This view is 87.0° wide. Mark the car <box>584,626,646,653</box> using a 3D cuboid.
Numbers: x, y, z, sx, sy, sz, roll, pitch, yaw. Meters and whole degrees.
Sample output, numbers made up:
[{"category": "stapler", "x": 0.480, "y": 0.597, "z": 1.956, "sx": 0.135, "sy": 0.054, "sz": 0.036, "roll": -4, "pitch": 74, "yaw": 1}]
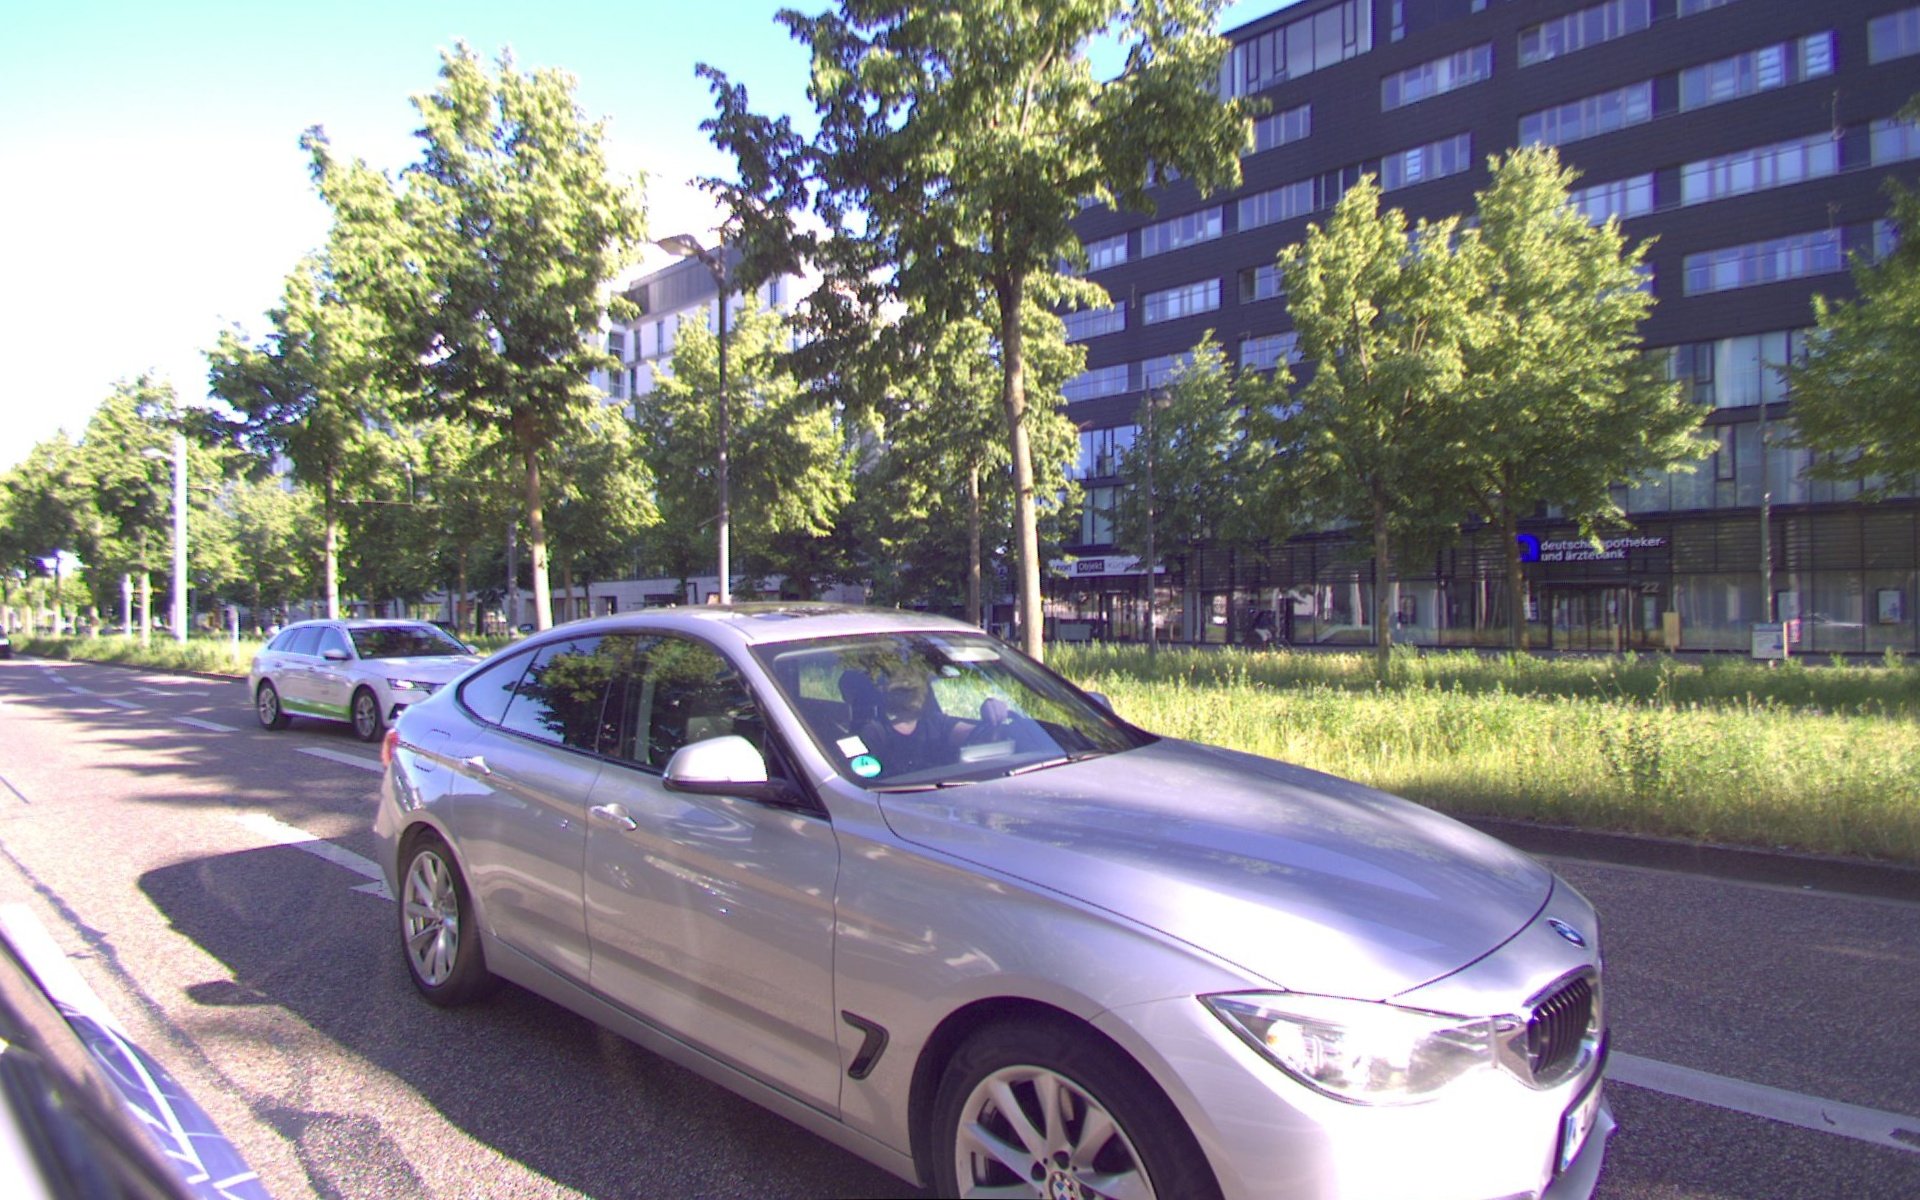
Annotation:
[{"category": "car", "x": -21.543, "y": 2.467, "z": 63.115, "sx": 4.182, "sy": 1.609, "sz": 1.859, "roll": -2, "pitch": -1, "yaw": 41}]

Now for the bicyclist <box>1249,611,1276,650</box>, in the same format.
[{"category": "bicyclist", "x": 11.295, "y": 1.139, "z": 37.781, "sx": 0.820, "sy": 1.435, "sz": 0.472, "roll": -2, "pitch": -2, "yaw": 41}]

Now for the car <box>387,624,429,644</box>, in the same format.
[{"category": "car", "x": -46.580, "y": 2.859, "z": 85.367, "sx": 4.182, "sy": 1.609, "sz": 1.859, "roll": -2, "pitch": -1, "yaw": 41}]

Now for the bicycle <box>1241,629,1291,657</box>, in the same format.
[{"category": "bicycle", "x": 11.388, "y": 1.594, "z": 37.686, "sx": 1.755, "sy": 1.043, "sz": 0.472, "roll": -1, "pitch": -1, "yaw": 41}]

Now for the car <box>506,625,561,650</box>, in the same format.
[{"category": "car", "x": -29.720, "y": 2.595, "z": 70.459, "sx": 4.182, "sy": 1.609, "sz": 1.859, "roll": -2, "pitch": -1, "yaw": 41}]

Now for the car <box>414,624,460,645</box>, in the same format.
[{"category": "car", "x": -42.124, "y": 2.788, "z": 81.471, "sx": 4.182, "sy": 1.609, "sz": 1.859, "roll": -2, "pitch": -1, "yaw": 41}]

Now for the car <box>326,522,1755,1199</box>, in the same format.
[{"category": "car", "x": -0.294, "y": 0.703, "z": 3.370, "sx": 4.558, "sy": 1.495, "sz": 1.800, "roll": -1, "pitch": -1, "yaw": 40}]

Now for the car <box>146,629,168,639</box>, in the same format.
[{"category": "car", "x": -114.624, "y": 4.828, "z": 144.480, "sx": 4.001, "sy": 1.406, "sz": 1.971, "roll": -2, "pitch": -2, "yaw": 44}]

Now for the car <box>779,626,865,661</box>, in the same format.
[{"category": "car", "x": -6.757, "y": 2.078, "z": 49.382, "sx": 4.182, "sy": 1.609, "sz": 1.926, "roll": -2, "pitch": -1, "yaw": 41}]

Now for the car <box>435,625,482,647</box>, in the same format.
[{"category": "car", "x": -38.662, "y": 2.742, "z": 77.965, "sx": 4.182, "sy": 1.609, "sz": 1.859, "roll": -2, "pitch": -1, "yaw": 41}]

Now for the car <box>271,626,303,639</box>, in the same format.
[{"category": "car", "x": -72.527, "y": 3.509, "z": 109.051, "sx": 3.998, "sy": 1.406, "sz": 1.972, "roll": -2, "pitch": -2, "yaw": 41}]

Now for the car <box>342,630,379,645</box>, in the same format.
[{"category": "car", "x": -55.164, "y": 3.439, "z": 93.100, "sx": 4.000, "sy": 1.406, "sz": 1.972, "roll": -2, "pitch": -2, "yaw": 43}]

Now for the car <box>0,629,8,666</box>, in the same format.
[{"category": "car", "x": -40.829, "y": 1.951, "z": 41.782, "sx": 3.998, "sy": 1.502, "sz": 1.837, "roll": -1, "pitch": -1, "yaw": 41}]

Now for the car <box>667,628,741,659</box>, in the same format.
[{"category": "car", "x": -14.062, "y": 2.339, "z": 55.542, "sx": 4.182, "sy": 1.609, "sz": 1.926, "roll": -2, "pitch": -1, "yaw": 41}]

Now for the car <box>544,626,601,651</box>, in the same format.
[{"category": "car", "x": -25.691, "y": 2.529, "z": 67.047, "sx": 4.182, "sy": 1.609, "sz": 1.859, "roll": -2, "pitch": -1, "yaw": 41}]

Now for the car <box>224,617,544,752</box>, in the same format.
[{"category": "car", "x": -7.525, "y": 0.974, "z": 13.070, "sx": 4.556, "sy": 1.458, "sz": 1.784, "roll": -1, "pitch": -1, "yaw": 34}]
